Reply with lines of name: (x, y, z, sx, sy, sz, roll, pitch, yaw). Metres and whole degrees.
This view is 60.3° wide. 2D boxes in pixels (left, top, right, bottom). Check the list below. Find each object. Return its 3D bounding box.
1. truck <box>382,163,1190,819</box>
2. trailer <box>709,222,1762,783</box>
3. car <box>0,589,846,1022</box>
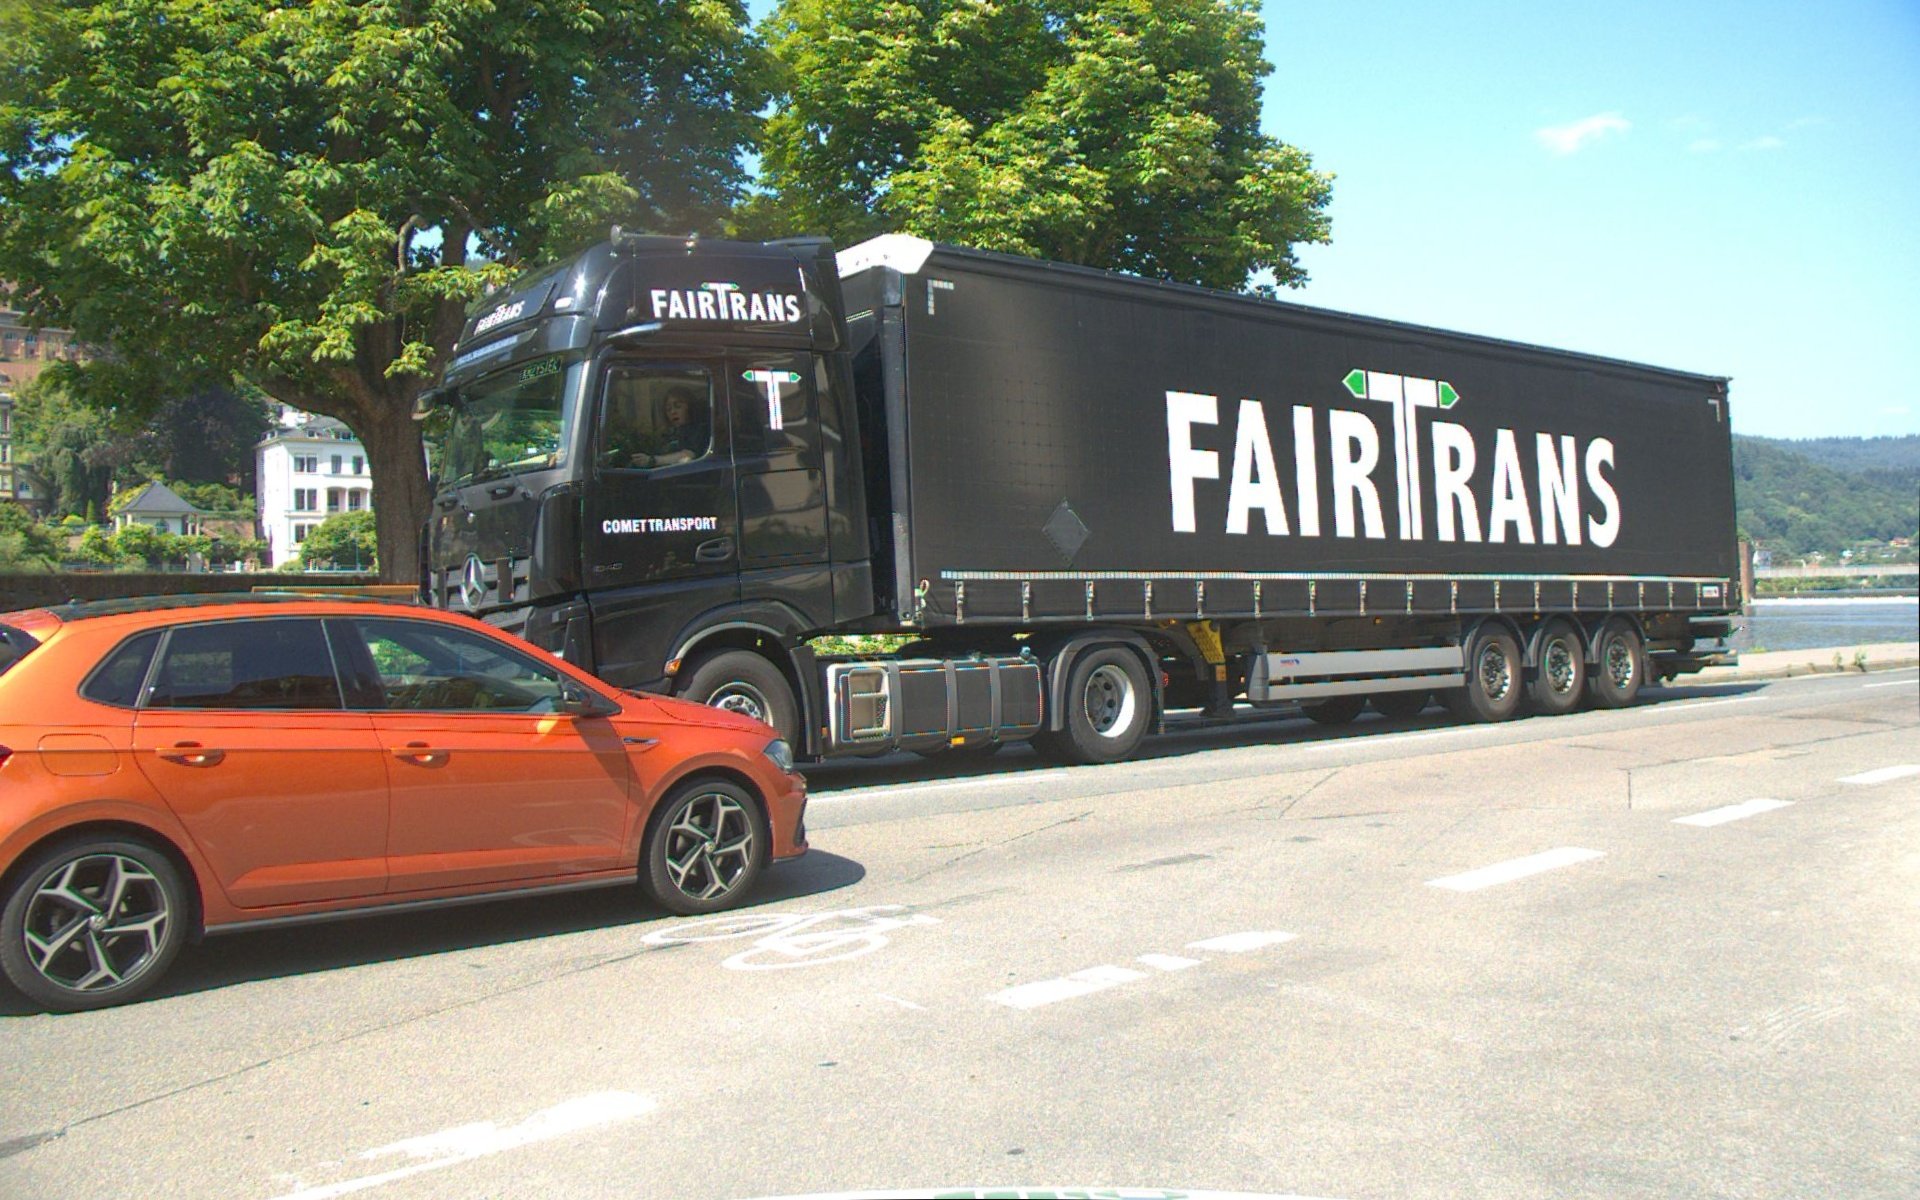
truck: (-1.230, -0.688, 13.412, 5.876, 4.143, 2.799, -1, -2, -40)
trailer: (3.978, -0.789, 17.746, 13.640, 4.176, 2.802, -1, -2, -40)
car: (-2.601, 0.694, 7.225, 3.980, 1.430, 1.705, -1, 0, -40)
